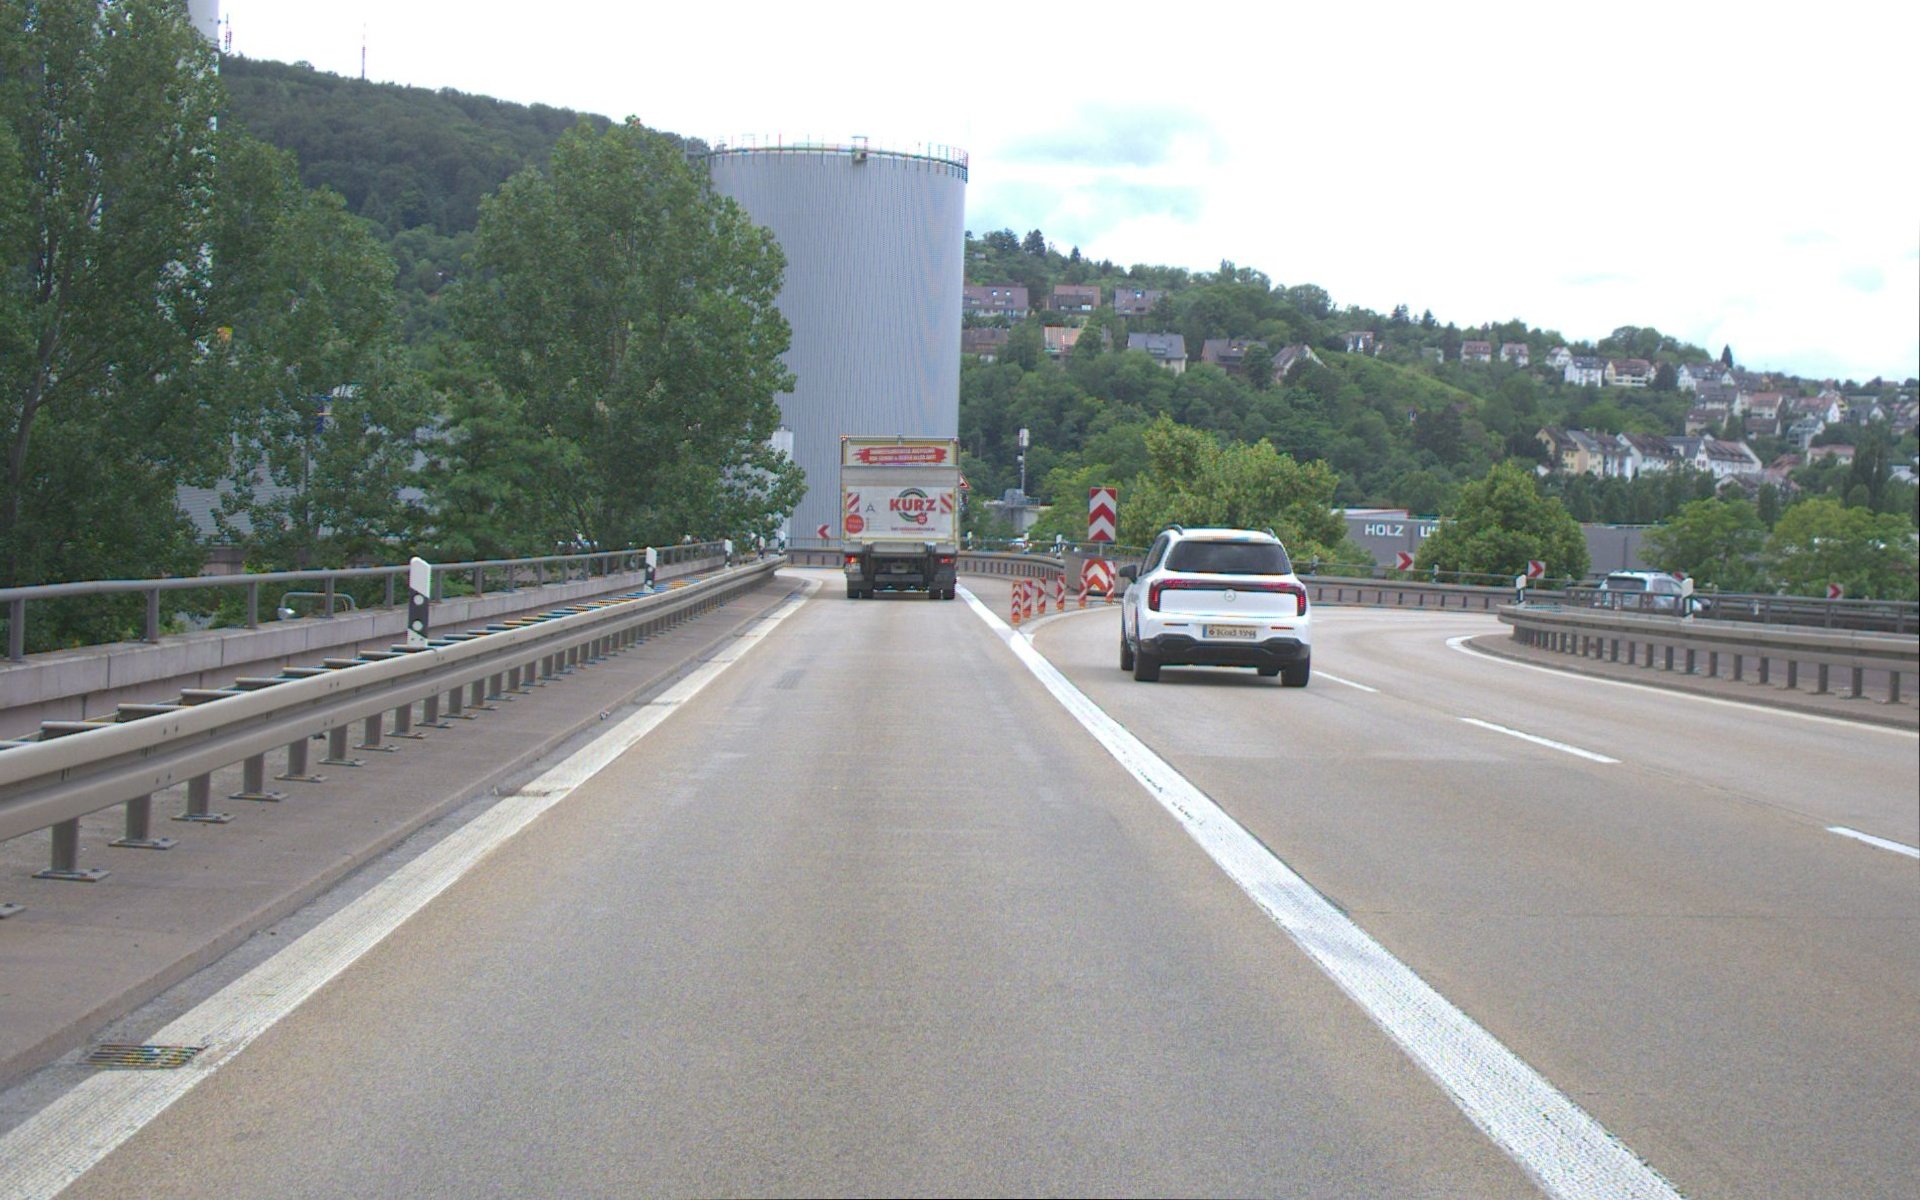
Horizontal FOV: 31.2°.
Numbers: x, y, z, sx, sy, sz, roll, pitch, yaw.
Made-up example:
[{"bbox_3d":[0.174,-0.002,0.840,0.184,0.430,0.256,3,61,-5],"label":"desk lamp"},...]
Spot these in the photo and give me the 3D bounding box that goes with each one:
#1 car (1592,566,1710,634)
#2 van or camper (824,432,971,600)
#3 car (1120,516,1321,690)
[{"bbox_3d":[19.193,-0.023,95.338,1.927,1.779,4.106,2,2,31],"label":"car"},{"bbox_3d":[-1.349,-1.871,78.017,3.122,3.567,8.550,1,1,0],"label":"van or camper"},{"bbox_3d":[2.815,-0.020,37.985,1.924,1.779,4.113,1,1,1],"label":"car"}]
